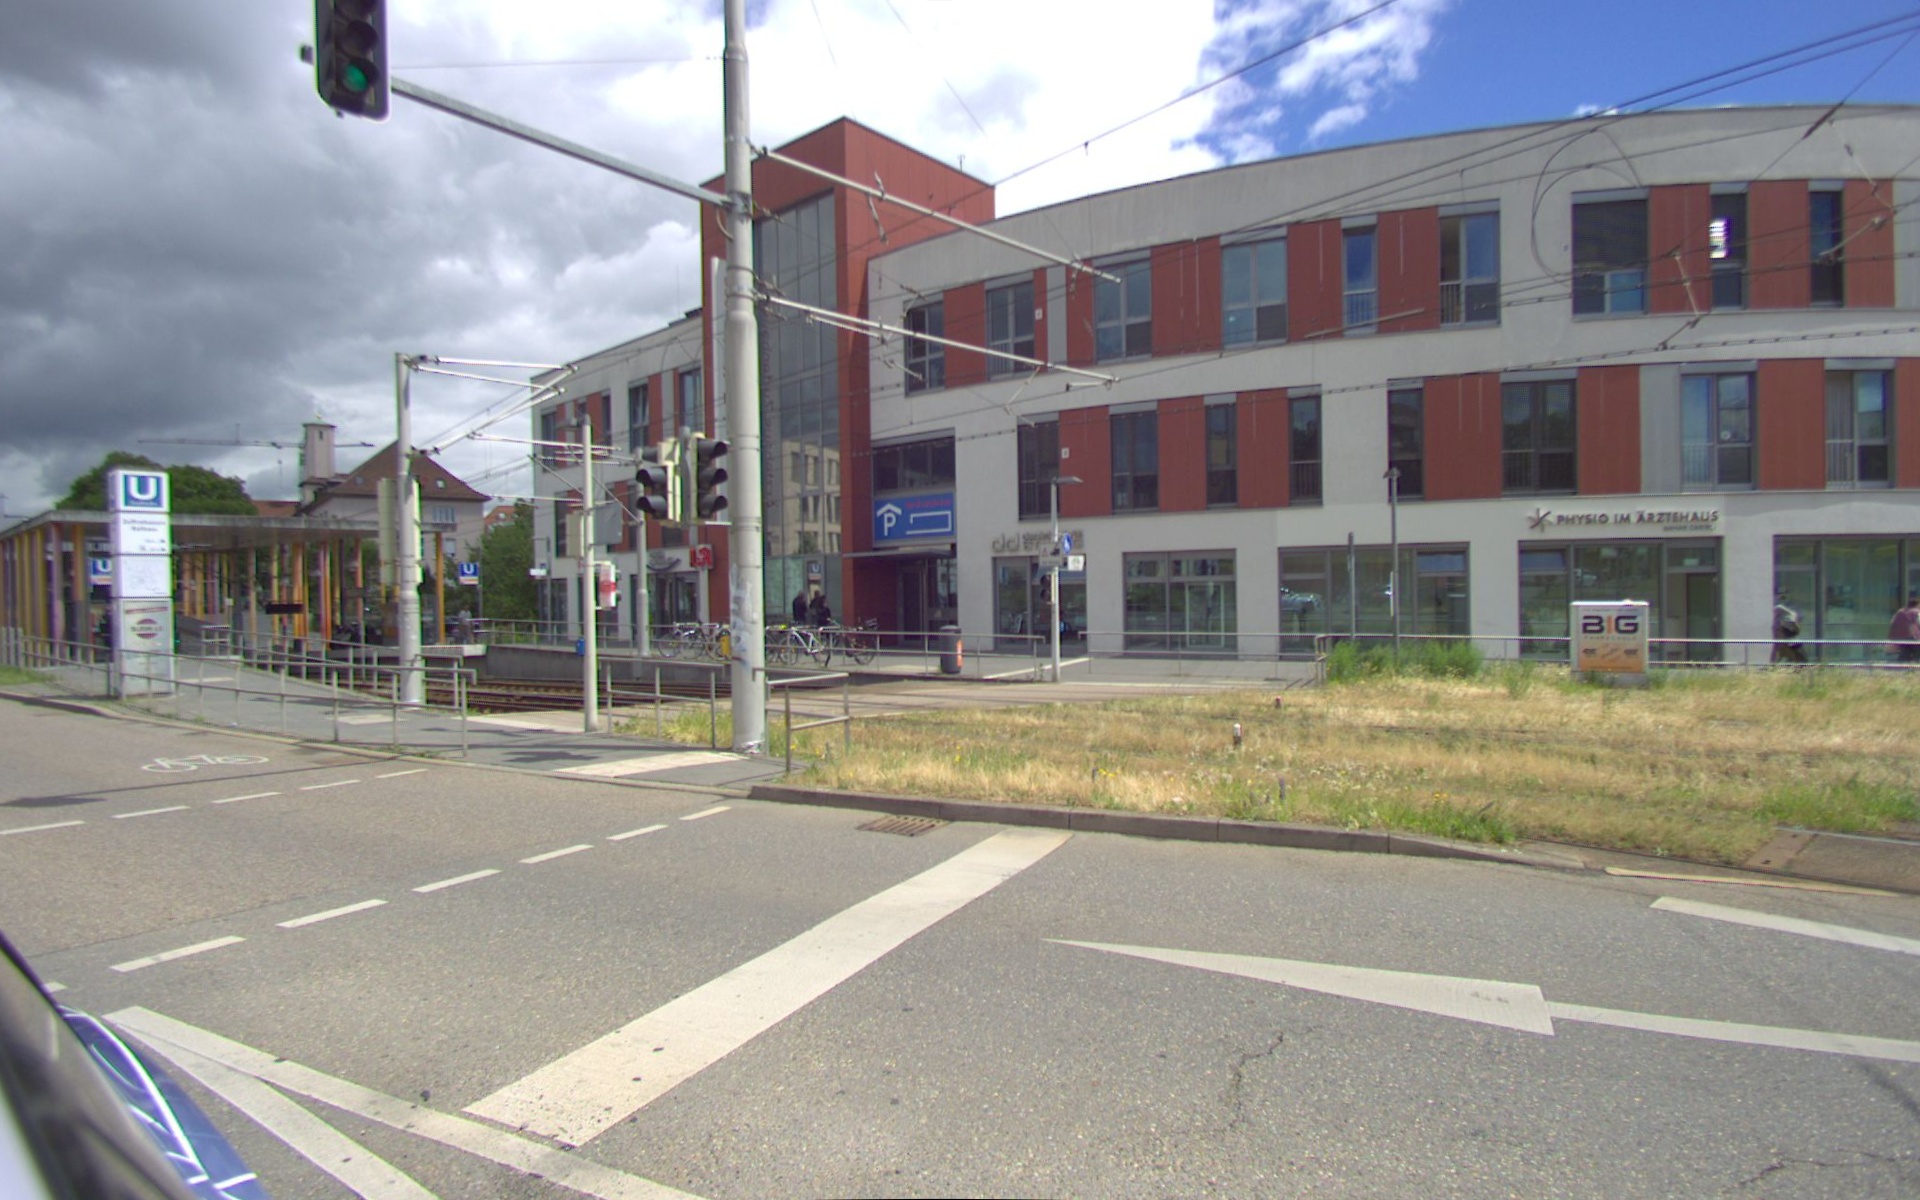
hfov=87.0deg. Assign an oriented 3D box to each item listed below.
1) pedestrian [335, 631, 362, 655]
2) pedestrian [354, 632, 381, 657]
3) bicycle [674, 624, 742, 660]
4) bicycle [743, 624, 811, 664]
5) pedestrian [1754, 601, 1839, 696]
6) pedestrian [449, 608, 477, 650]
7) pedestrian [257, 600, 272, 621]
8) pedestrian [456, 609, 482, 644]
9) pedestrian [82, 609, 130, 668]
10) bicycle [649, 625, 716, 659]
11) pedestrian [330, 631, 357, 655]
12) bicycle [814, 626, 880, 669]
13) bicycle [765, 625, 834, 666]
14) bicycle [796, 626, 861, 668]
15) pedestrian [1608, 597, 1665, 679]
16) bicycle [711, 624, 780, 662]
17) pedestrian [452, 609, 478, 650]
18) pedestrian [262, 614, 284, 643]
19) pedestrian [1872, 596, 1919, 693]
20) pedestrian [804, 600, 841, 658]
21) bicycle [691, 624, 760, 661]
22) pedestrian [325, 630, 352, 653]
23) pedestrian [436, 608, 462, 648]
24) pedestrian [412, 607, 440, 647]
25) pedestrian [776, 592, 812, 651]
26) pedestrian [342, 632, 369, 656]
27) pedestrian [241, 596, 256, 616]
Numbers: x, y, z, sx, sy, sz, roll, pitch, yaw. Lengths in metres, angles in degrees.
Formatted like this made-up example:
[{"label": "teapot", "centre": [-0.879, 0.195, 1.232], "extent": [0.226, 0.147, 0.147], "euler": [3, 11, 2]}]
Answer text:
[{"label": "pedestrian", "centre": [-30.127, 2.134, 49.893], "extent": [0.886, 1.143, 0.931], "euler": [-2, -1, 42]}, {"label": "pedestrian", "centre": [-28.561, 2.132, 48.783], "extent": [0.886, 1.143, 0.931], "euler": [-2, -1, 42]}, {"label": "bicycle", "centre": [-6.990, 1.155, 28.137], "extent": [1.835, 0.939, 0.455], "euler": [0, 0, -41]}, {"label": "bicycle", "centre": [-4.747, 1.127, 26.331], "extent": [0.454, 0.970, 1.837], "euler": [-1, 0, 43]}, {"label": "pedestrian", "centre": [17.973, 1.030, 21.773], "extent": [1.104, 1.983, 0.862], "euler": [0, -1, 10]}, {"label": "pedestrian", "centre": [-23.526, 1.369, 47.904], "extent": [1.106, 1.983, 0.852], "euler": [0, -1, 43]}, {"label": "pedestrian", "centre": [-67.014, 1.012, 97.509], "extent": [1.108, 2.029, 1.664], "euler": [0, -1, -36]}, {"label": "pedestrian", "centre": [-28.777, 1.546, 59.328], "extent": [1.089, 1.983, 0.865], "euler": [0, -1, -4]}, {"label": "pedestrian", "centre": [-28.278, 1.260, 33.528], "extent": [0.864, 1.929, 1.090], "euler": [0, -1, 42]}, {"label": "bicycle", "centre": [-7.884, 1.191, 28.825], "extent": [1.834, 0.888, 0.455], "euler": [0, 0, -41]}, {"label": "pedestrian", "centre": [-30.817, 2.138, 50.611], "extent": [0.886, 1.143, 0.931], "euler": [-2, -1, 42]}, {"label": "bicycle", "centre": [-2.744, 1.139, 24.666], "extent": [0.428, 0.959, 1.716], "euler": [-1, 0, 43]}, {"label": "bicycle", "centre": [-4.063, 1.138, 25.696], "extent": [0.454, 0.942, 1.837], "euler": [-1, 0, 43]}, {"label": "bicycle", "centre": [-3.232, 1.138, 25.070], "extent": [0.428, 0.965, 1.716], "euler": [-1, 0, 43]}, {"label": "pedestrian", "centre": [13.384, 0.751, 20.052], "extent": [0.684, 1.592, 0.732], "euler": [-1, -1, 13]}, {"label": "bicycle", "centre": [-5.705, 1.138, 26.979], "extent": [1.836, 0.946, 0.455], "euler": [0, 0, -45]}, {"label": "pedestrian", "centre": [-24.860, 1.468, 50.803], "extent": [0.852, 1.983, 1.107], "euler": [1, -1, -44]}, {"label": "pedestrian", "centre": [-49.243, 2.047, 72.567], "extent": [1.112, 2.029, 1.180], "euler": [0, -2, -44]}, {"label": "pedestrian", "centre": [19.909, 0.914, 21.041], "extent": [1.094, 1.983, 0.861], "euler": [0, -1, 11]}, {"label": "pedestrian", "centre": [-4.151, 0.868, 30.587], "extent": [0.924, 1.711, 0.787], "euler": [0, -1, 6]}, {"label": "bicycle", "centre": [-6.378, 1.152, 27.578], "extent": [1.835, 0.929, 0.455], "euler": [0, 0, -42]}, {"label": "pedestrian", "centre": [-31.573, 2.108, 51.416], "extent": [0.886, 1.143, 0.931], "euler": [-2, -1, 42]}, {"label": "pedestrian", "centre": [-25.391, 1.376, 50.302], "extent": [0.852, 1.983, 1.107], "euler": [1, -1, -44]}, {"label": "pedestrian", "centre": [-26.595, 1.329, 50.399], "extent": [1.105, 1.983, 0.853], "euler": [0, -1, 39]}, {"label": "pedestrian", "centre": [-5.321, 0.665, 32.476], "extent": [0.856, 1.859, 0.876], "euler": [0, 1, 13]}, {"label": "pedestrian", "centre": [-29.410, 2.132, 49.258], "extent": [0.886, 1.143, 0.931], "euler": [-2, -1, 42]}, {"label": "pedestrian", "centre": [-73.602, 0.631, 104.698], "extent": [1.112, 2.029, 0.816], "euler": [0, -2, -44]}]
